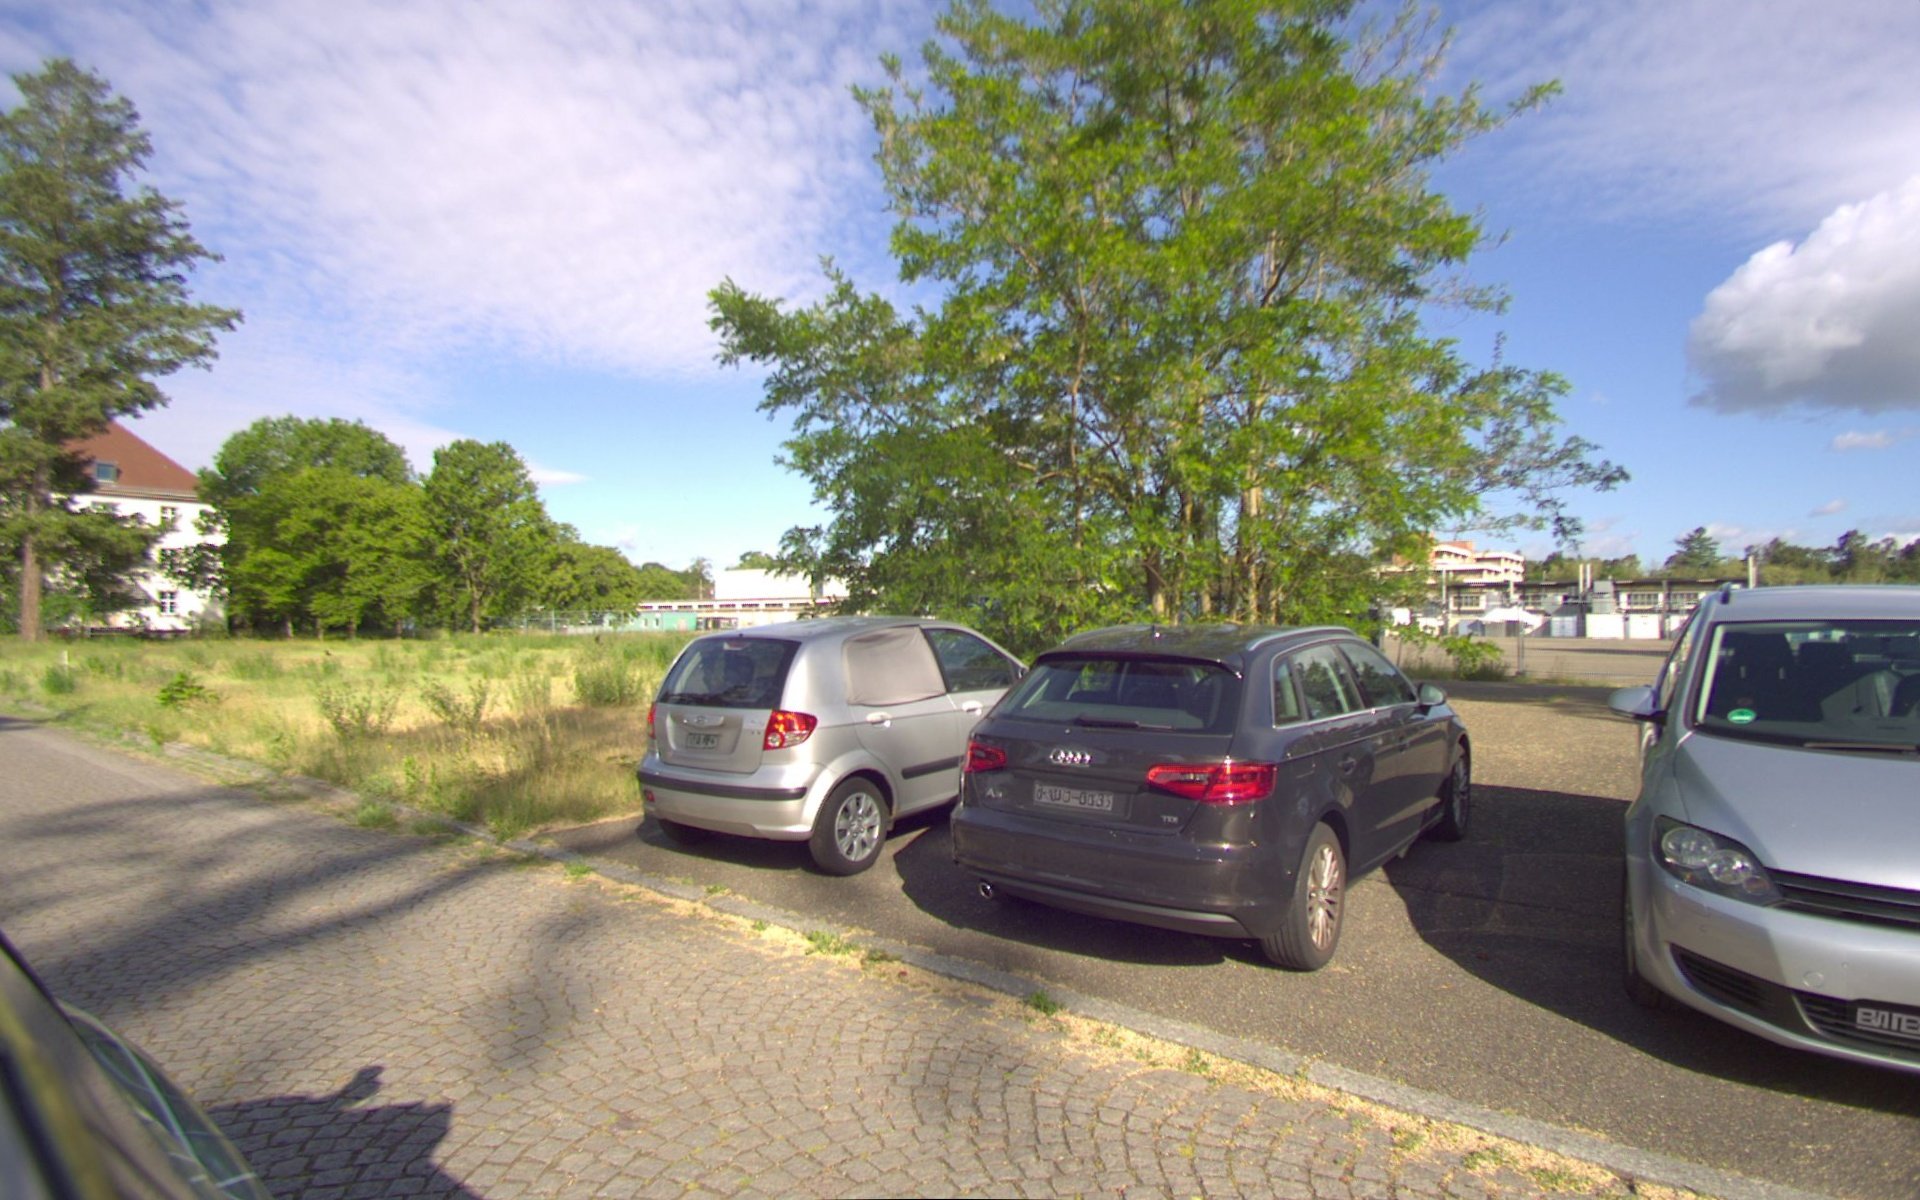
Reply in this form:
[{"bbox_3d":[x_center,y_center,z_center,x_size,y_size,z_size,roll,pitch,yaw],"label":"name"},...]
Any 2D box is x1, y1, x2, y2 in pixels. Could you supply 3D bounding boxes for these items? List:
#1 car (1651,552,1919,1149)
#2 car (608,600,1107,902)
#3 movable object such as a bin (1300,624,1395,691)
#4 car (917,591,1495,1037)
[{"bbox_3d":[3.949,0.635,4.227,1.718,1.638,3.910,-1,1,35],"label":"car"},{"bbox_3d":[-0.509,0.809,7.199,1.633,1.482,3.434,-1,1,37],"label":"car"},{"bbox_3d":[6.953,0.988,18.084,0.996,1.116,2.257,-1,-2,37],"label":"movable object such as a bin"},{"bbox_3d":[1.630,0.750,5.567,1.685,1.482,3.761,-1,1,38],"label":"car"}]
